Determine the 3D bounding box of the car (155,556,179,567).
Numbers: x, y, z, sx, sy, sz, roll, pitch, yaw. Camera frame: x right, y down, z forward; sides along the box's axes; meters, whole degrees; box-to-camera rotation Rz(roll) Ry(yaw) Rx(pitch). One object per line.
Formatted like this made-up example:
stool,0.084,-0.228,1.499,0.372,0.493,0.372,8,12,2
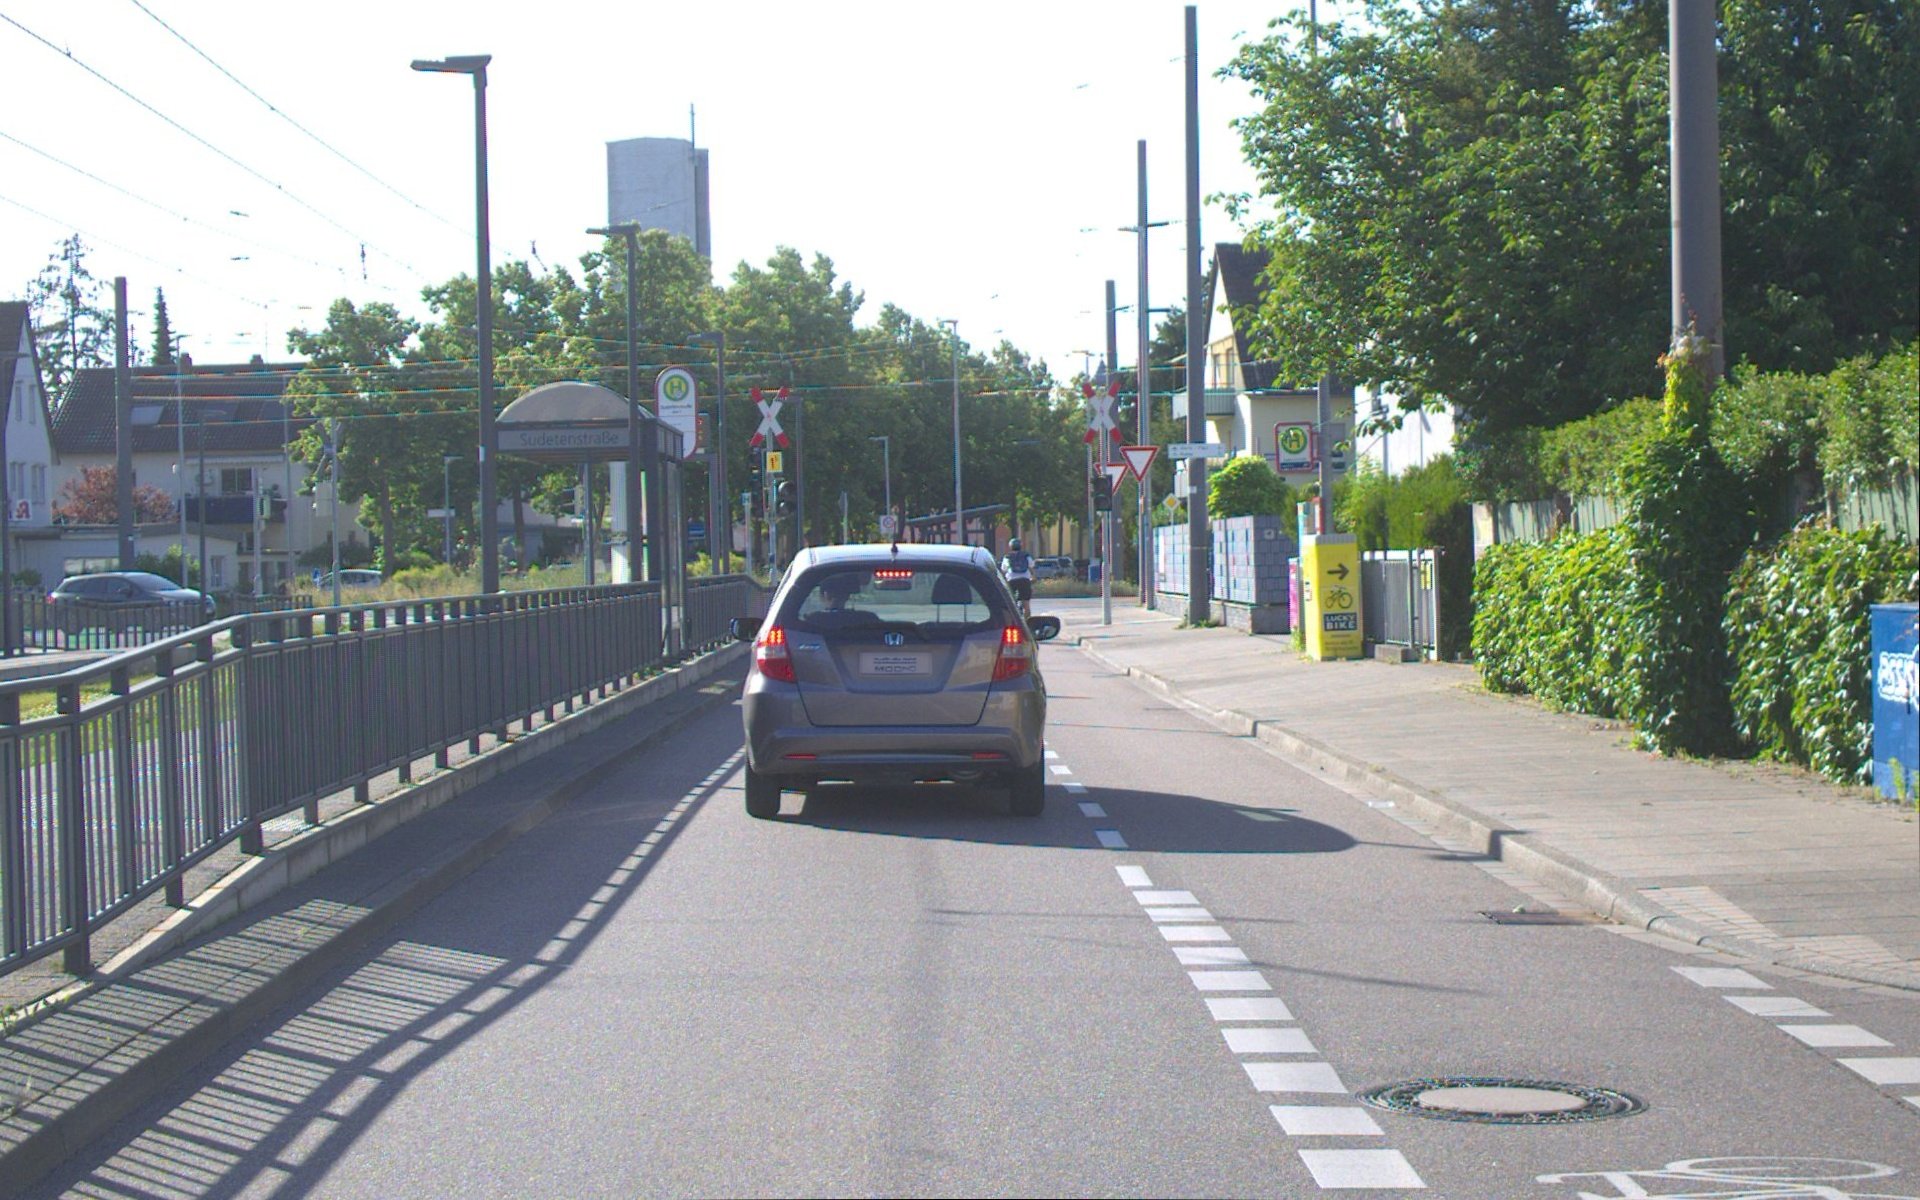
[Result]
car,-26.268,-1.275,113.907,0.699,0.335,0.329,0,0,4

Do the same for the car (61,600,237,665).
car,-19.856,0.778,84.171,3.993,1.524,1.805,0,0,27

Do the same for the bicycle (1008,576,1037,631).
bicycle,1.098,0.053,61.070,0.475,0.958,1.657,0,0,0

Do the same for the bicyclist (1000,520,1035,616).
bicyclist,1.013,-0.562,60.859,0.598,1.695,0.683,0,0,0

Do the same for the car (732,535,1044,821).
car,-0.427,0.394,20.151,1.670,1.530,3.487,0,1,-1
